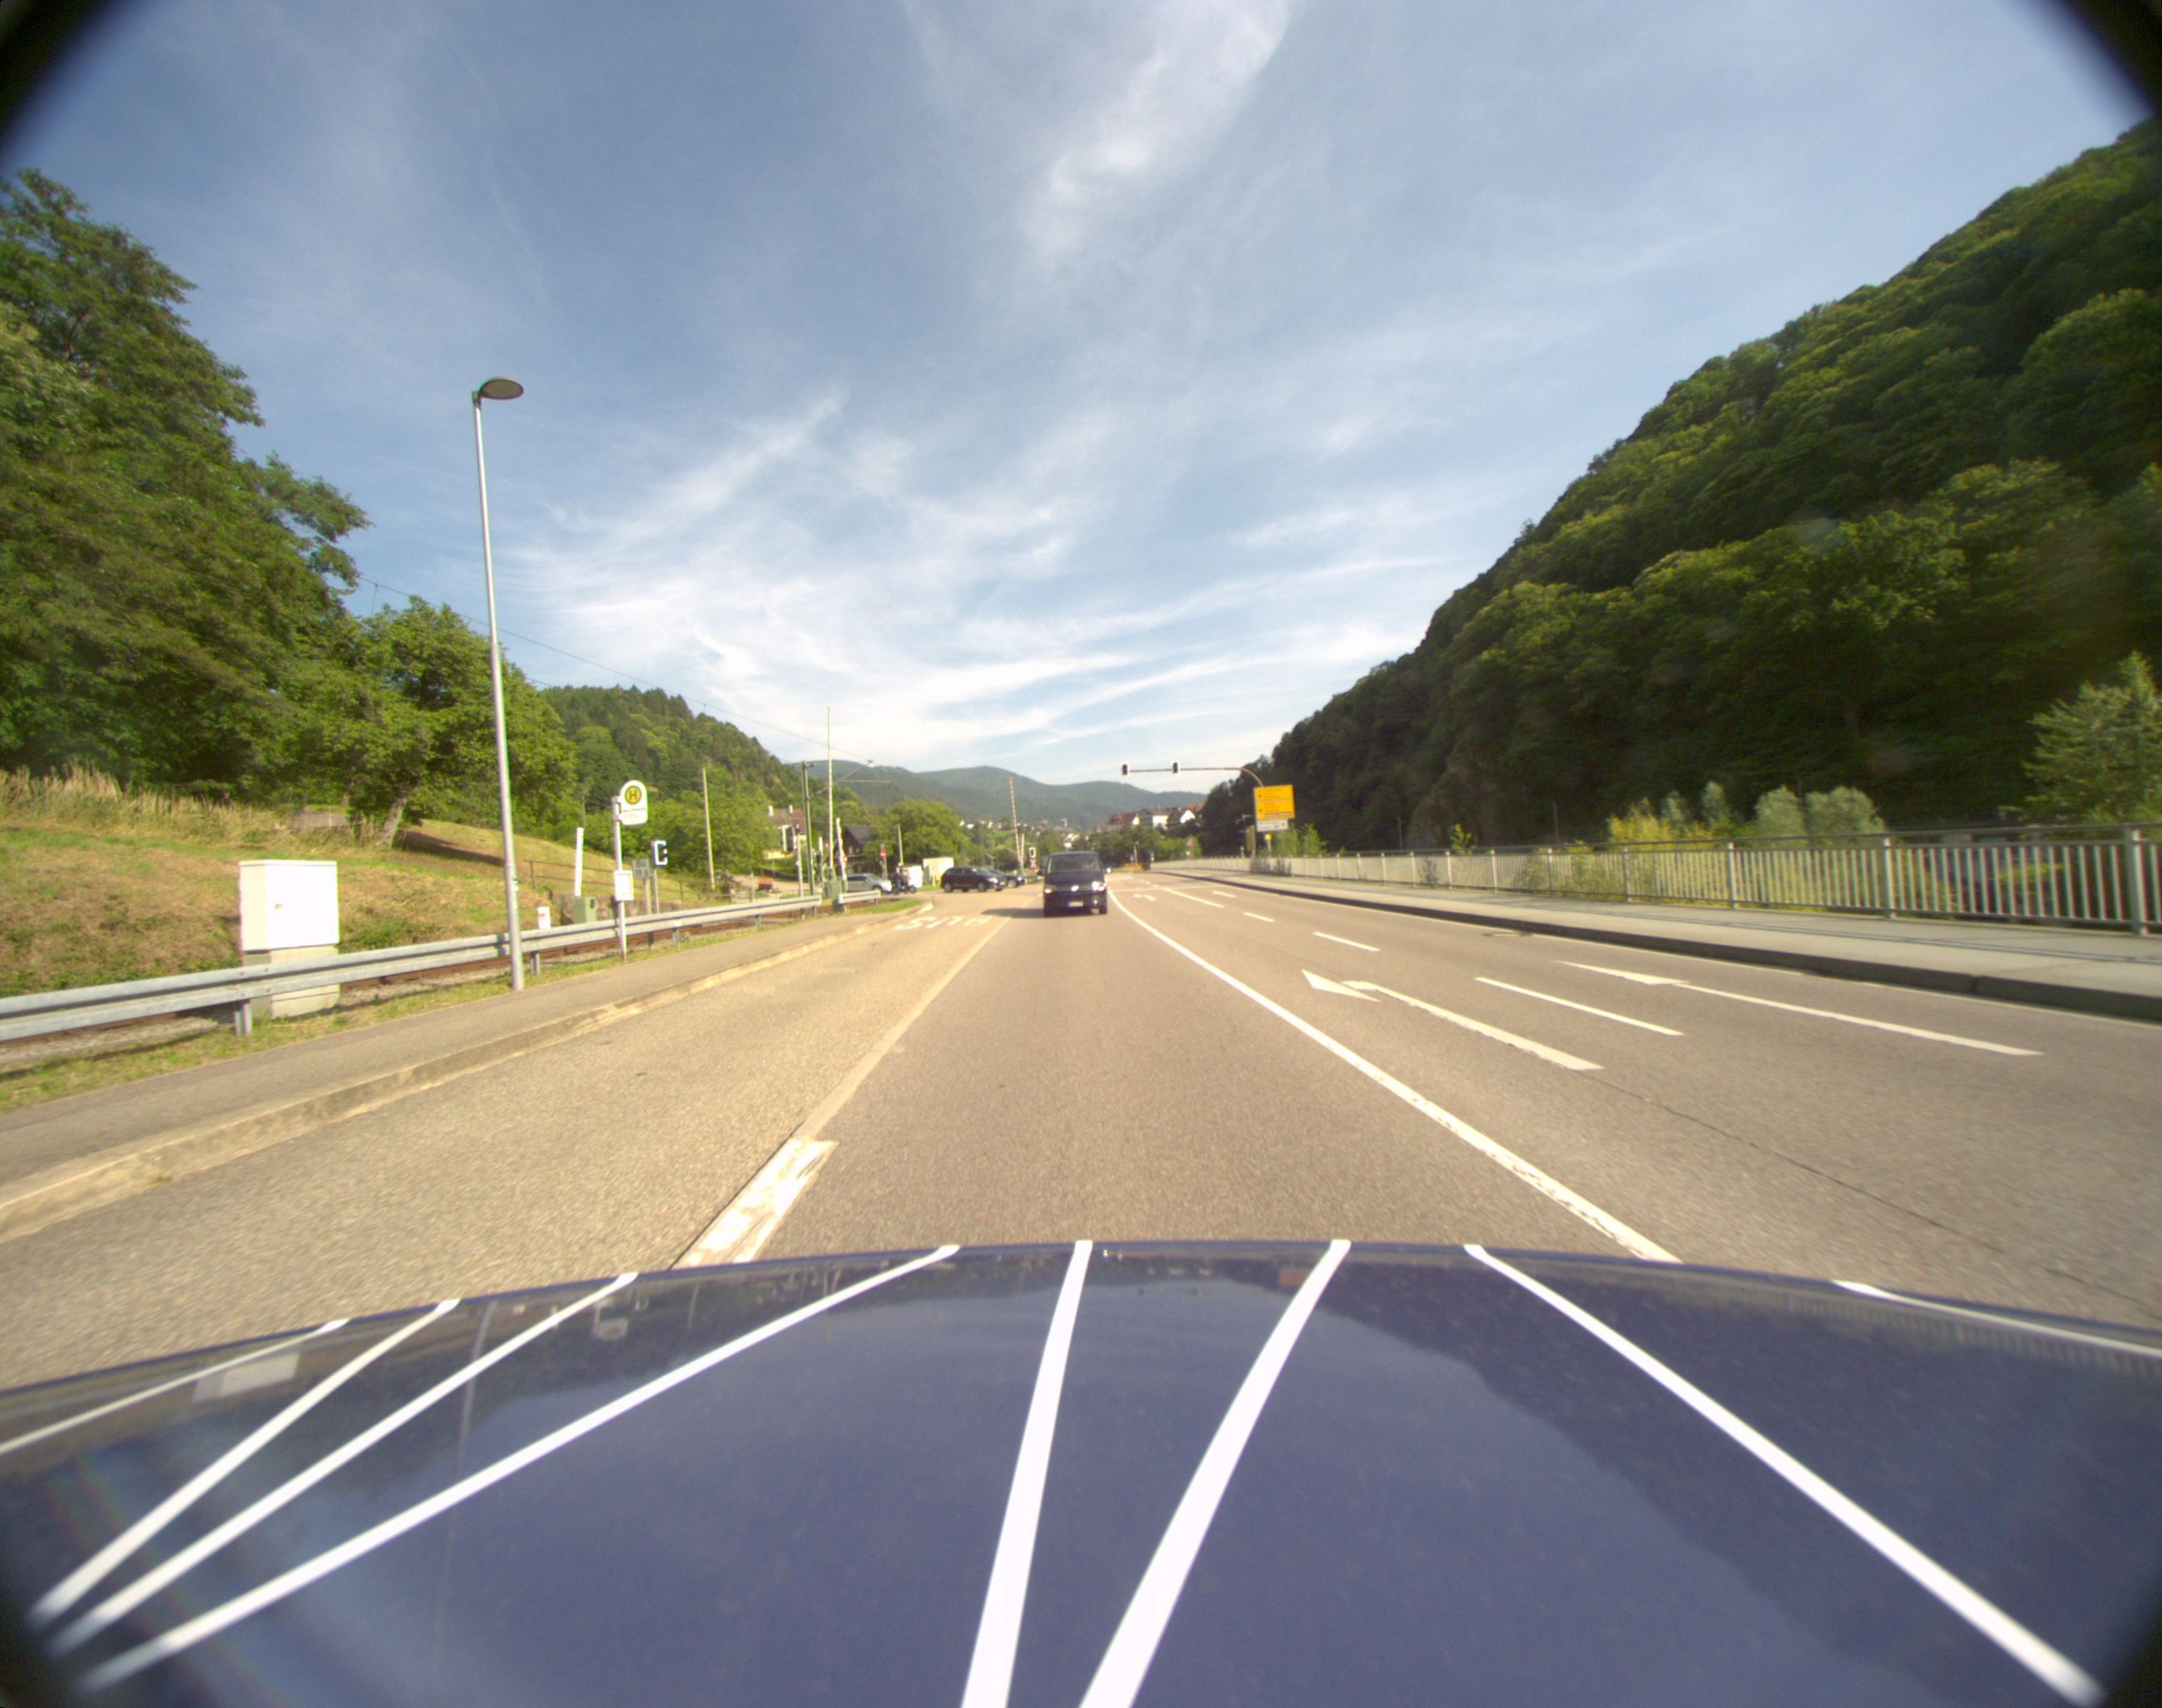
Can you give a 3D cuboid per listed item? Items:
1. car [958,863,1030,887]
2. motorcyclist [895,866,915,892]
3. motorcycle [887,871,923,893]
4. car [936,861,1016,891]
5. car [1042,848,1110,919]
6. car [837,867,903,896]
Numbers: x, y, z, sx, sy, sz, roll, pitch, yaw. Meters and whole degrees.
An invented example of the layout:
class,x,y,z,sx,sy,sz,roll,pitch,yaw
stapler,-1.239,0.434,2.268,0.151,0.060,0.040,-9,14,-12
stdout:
class,x,y,z,sx,sy,sz,roll,pitch,yaw
car,-6.106,1.508,53.822,4.737,1.461,1.842,-2,0,3
motorcyclist,-11.527,1.623,49.751,0.908,1.587,0.766,-5,0,17
motorcycle,-11.489,1.855,49.742,2.096,1.247,0.800,-5,0,18
car,-6.590,1.387,47.542,4.729,1.650,1.934,-3,-1,32
car,-0.204,0.869,24.047,1.865,1.936,4.638,-3,-1,-1
car,-15.137,1.978,54.623,4.119,1.676,1.837,-5,0,14
